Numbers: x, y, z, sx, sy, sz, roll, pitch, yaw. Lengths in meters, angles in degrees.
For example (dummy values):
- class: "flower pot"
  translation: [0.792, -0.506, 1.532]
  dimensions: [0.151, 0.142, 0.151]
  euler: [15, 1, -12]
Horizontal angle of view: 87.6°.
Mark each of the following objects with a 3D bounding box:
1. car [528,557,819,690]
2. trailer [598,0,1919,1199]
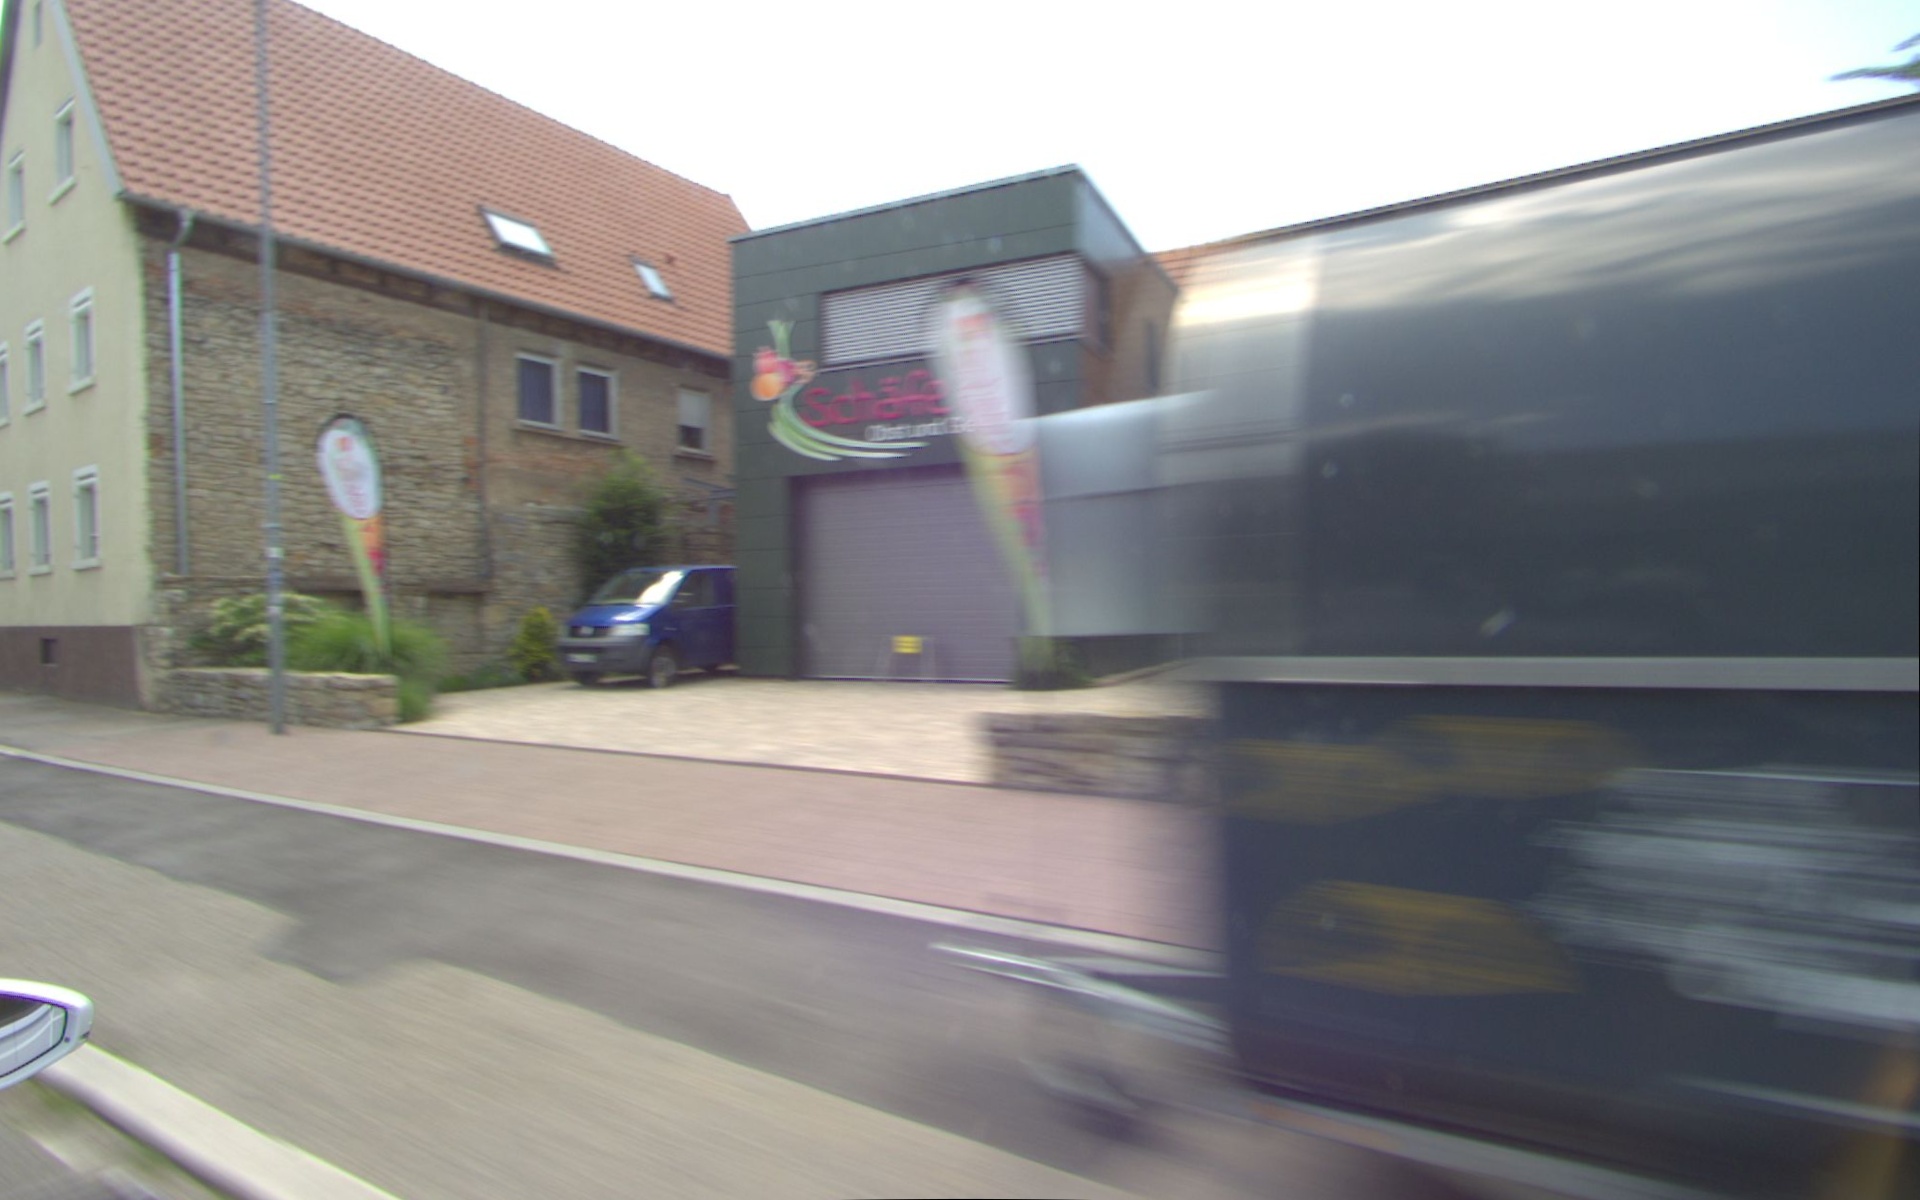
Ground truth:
- class: "car"
  translation: [-4.767, 0.343, 17.576]
  dimensions: [1.969, 1.976, 5.047]
  euler: [0, 0, 27]
- class: "trailer"
  translation: [1.155, 0.209, 2.299]
  dimensions: [3.535, 2.386, 1.842]
  euler: [0, 1, 29]
